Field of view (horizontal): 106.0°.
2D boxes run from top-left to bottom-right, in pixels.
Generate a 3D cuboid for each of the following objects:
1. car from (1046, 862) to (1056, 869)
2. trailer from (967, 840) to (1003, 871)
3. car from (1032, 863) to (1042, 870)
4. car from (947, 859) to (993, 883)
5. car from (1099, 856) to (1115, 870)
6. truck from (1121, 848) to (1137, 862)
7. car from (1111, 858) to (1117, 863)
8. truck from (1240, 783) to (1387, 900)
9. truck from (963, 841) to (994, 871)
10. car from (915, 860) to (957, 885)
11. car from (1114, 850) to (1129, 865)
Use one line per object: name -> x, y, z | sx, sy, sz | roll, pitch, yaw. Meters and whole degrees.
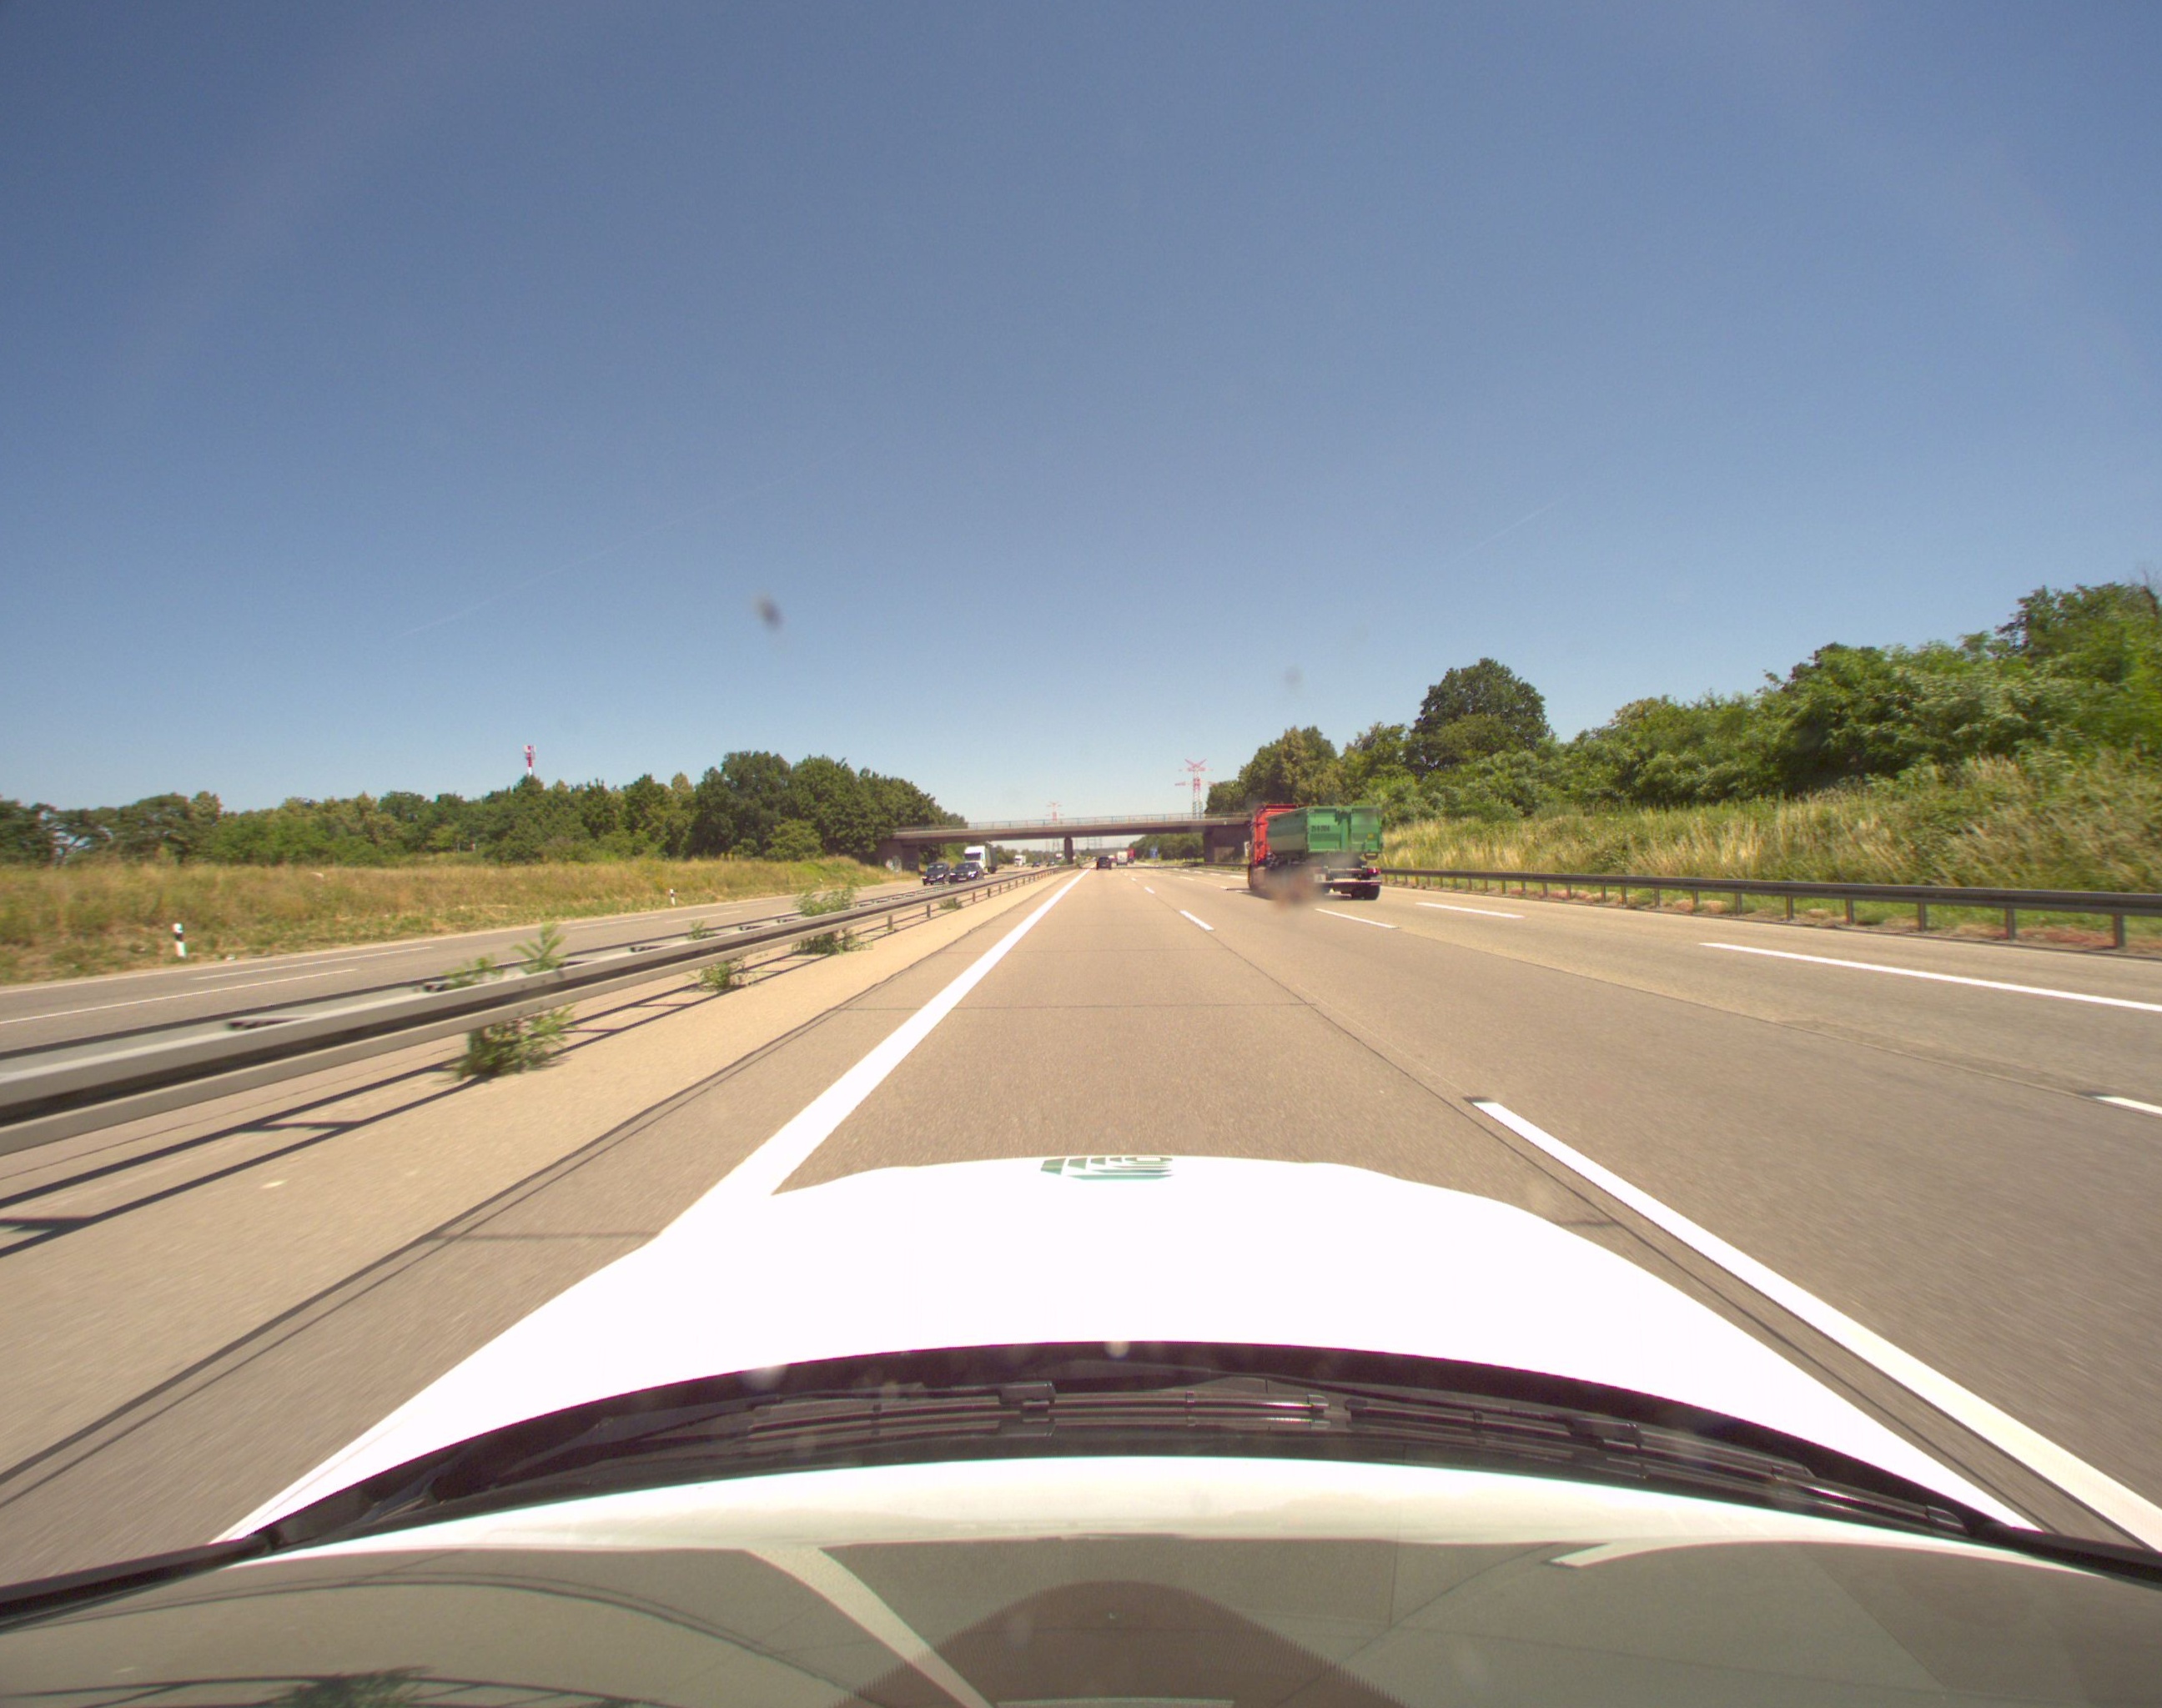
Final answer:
car -> -7.621, 2.941, 208.028 | 2.220, 1.610, 5.061 | -4, 0, 1
trailer -> -14.073, 0.181, 120.844 | 2.938, 4.108, 14.106 | -4, 0, 1
car -> -11.672, 3.270, 214.561 | 2.220, 1.610, 5.061 | -4, 0, 1
car -> -7.526, 1.118, 55.670 | 2.220, 1.424, 5.300 | -4, 0, 1
car -> 3.370, 1.137, 105.963 | 1.986, 1.750, 4.001 | 0, 0, 1
truck -> 13.722, 0.236, 234.432 | 4.315, 3.941, 16.084 | 0, 0, 2
car -> 10.011, 1.906, 249.346 | 1.741, 1.634, 4.005 | 0, 0, 1
truck -> 8.819, -0.395, 32.875 | 2.671, 3.798, 12.482 | 0, 0, 2
truck -> -14.282, 0.277, 113.811 | 2.938, 3.960, 6.954 | -4, 0, 1
car -> -11.724, 1.456, 66.336 | 2.220, 1.812, 5.300 | -4, 0, 1
car -> 7.915, 0.646, 159.638 | 2.611, 2.759, 6.098 | 0, 0, 1
